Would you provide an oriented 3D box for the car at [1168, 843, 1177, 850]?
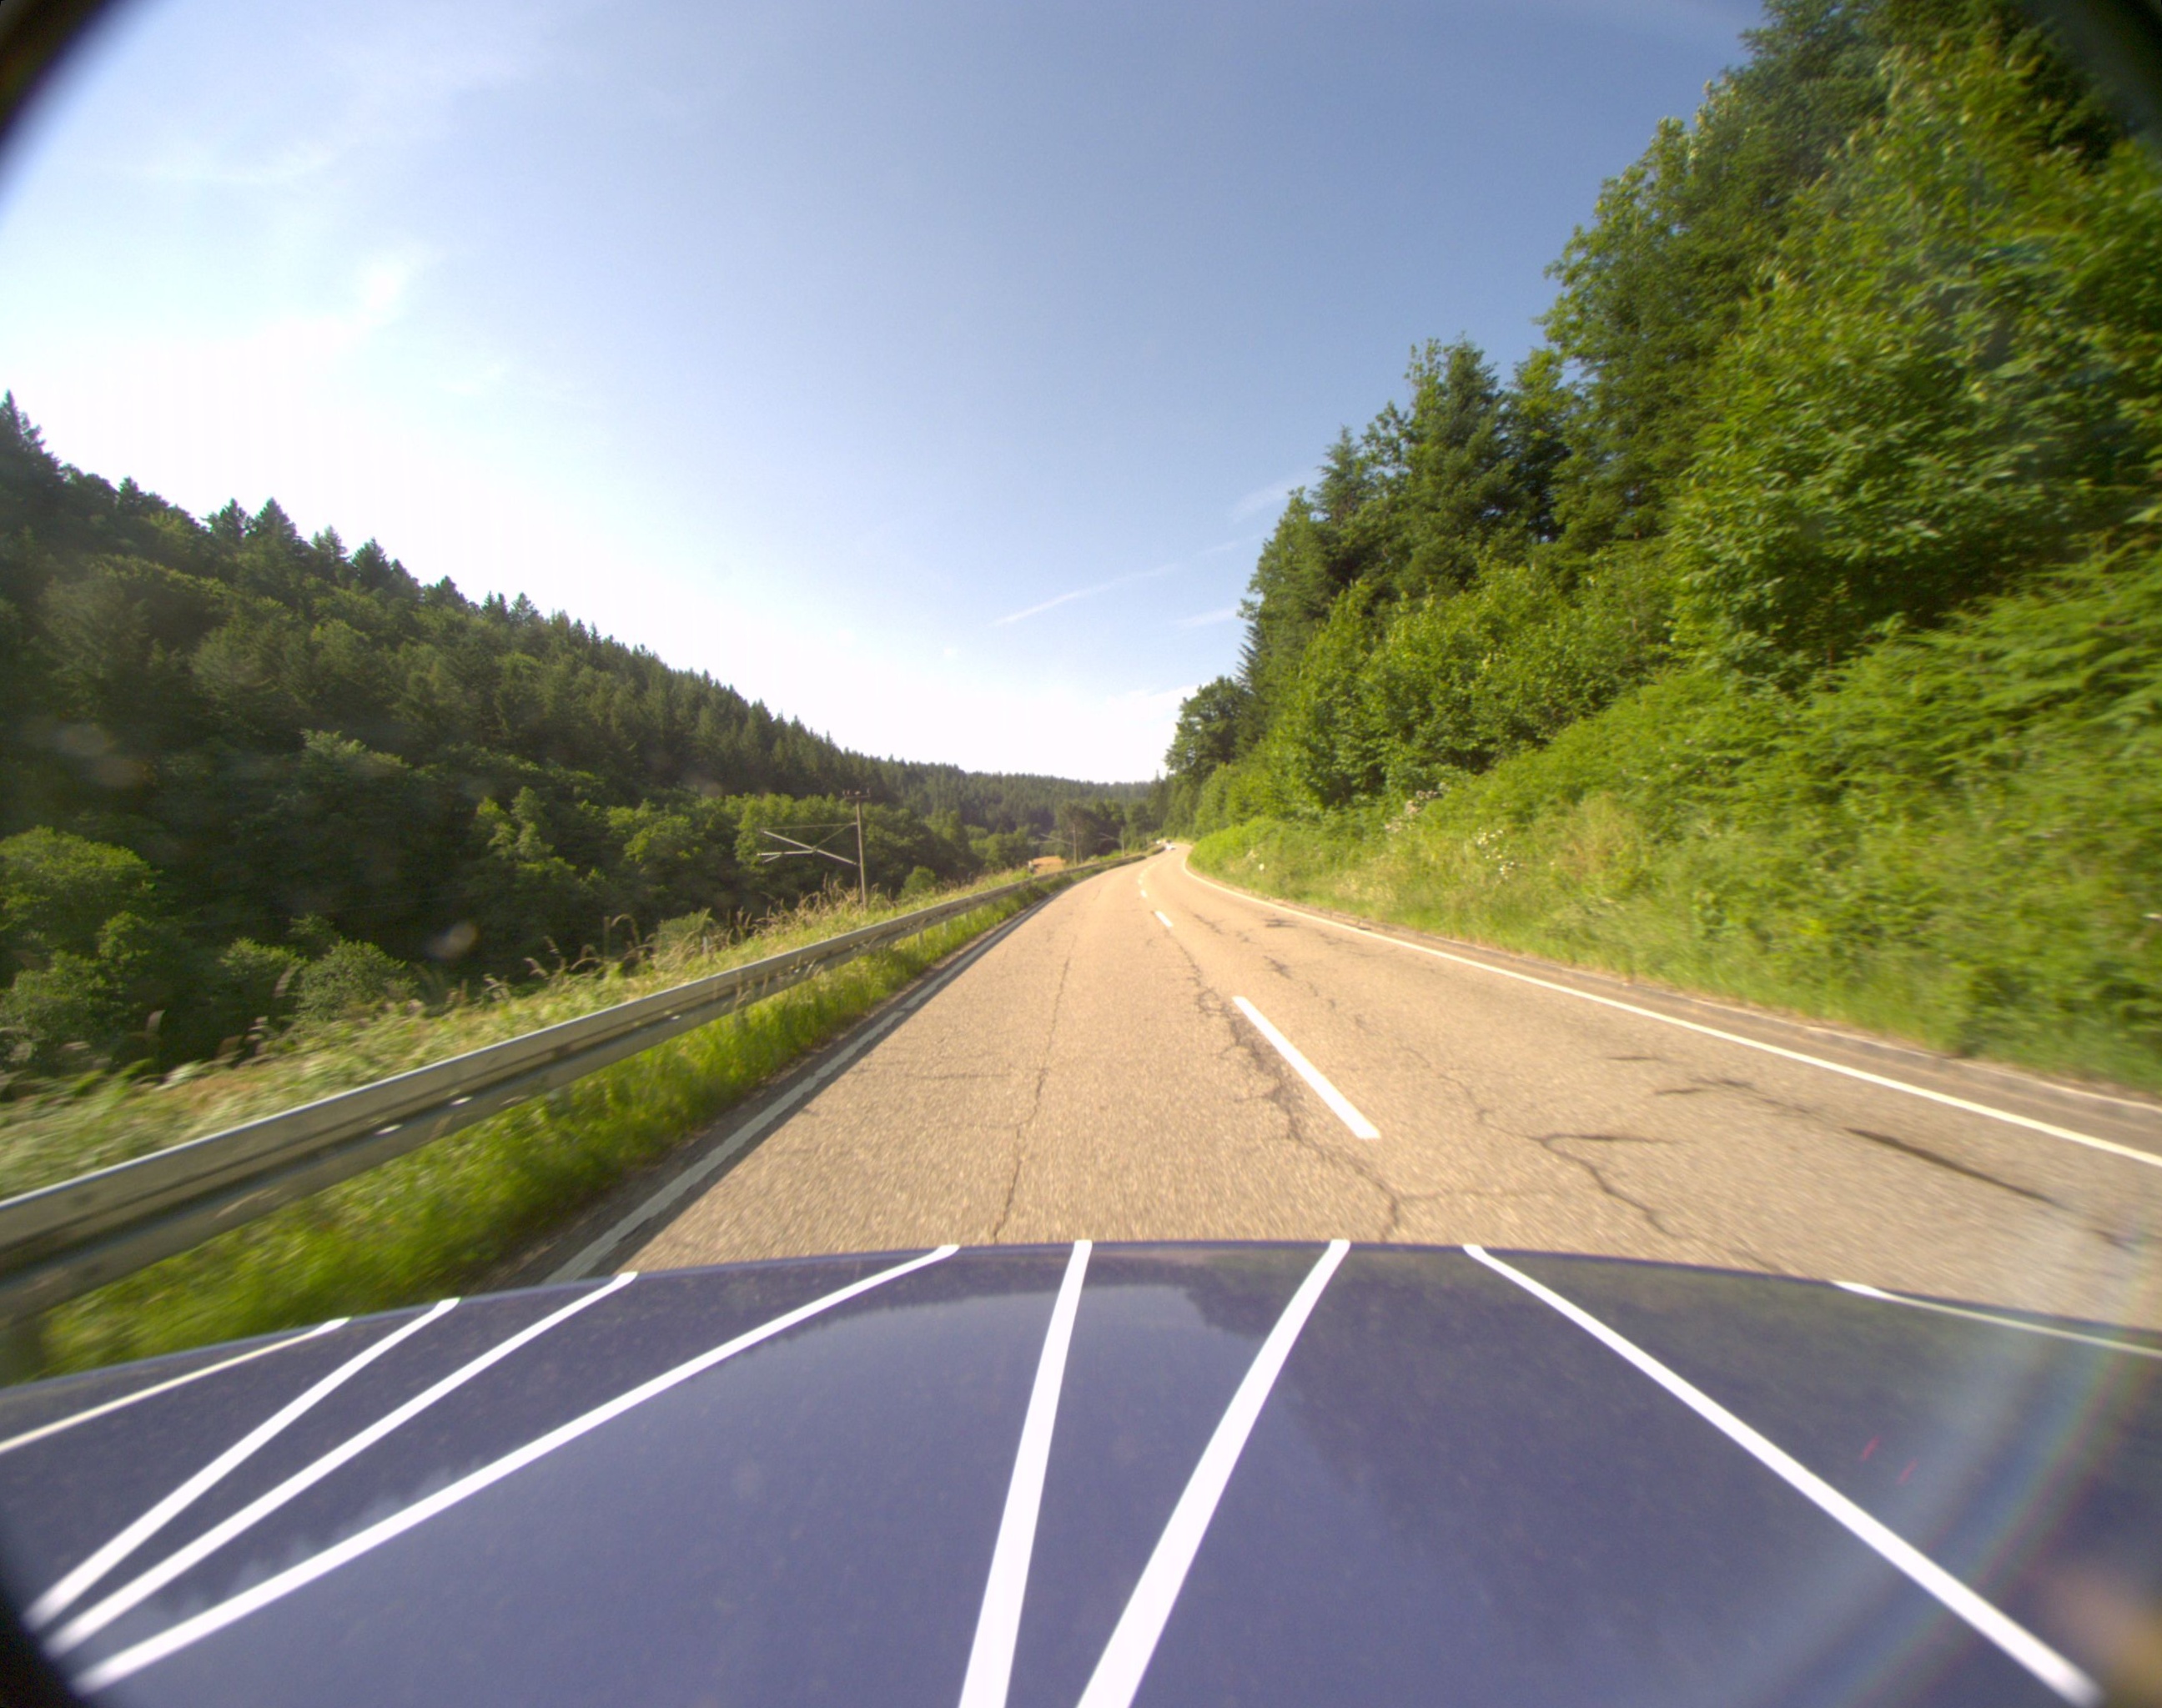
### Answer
[{"bbox_3d":[23.681,-1.925,196.809,1.702,1.543,3.787,-4,2,1],"label":"car"}]
